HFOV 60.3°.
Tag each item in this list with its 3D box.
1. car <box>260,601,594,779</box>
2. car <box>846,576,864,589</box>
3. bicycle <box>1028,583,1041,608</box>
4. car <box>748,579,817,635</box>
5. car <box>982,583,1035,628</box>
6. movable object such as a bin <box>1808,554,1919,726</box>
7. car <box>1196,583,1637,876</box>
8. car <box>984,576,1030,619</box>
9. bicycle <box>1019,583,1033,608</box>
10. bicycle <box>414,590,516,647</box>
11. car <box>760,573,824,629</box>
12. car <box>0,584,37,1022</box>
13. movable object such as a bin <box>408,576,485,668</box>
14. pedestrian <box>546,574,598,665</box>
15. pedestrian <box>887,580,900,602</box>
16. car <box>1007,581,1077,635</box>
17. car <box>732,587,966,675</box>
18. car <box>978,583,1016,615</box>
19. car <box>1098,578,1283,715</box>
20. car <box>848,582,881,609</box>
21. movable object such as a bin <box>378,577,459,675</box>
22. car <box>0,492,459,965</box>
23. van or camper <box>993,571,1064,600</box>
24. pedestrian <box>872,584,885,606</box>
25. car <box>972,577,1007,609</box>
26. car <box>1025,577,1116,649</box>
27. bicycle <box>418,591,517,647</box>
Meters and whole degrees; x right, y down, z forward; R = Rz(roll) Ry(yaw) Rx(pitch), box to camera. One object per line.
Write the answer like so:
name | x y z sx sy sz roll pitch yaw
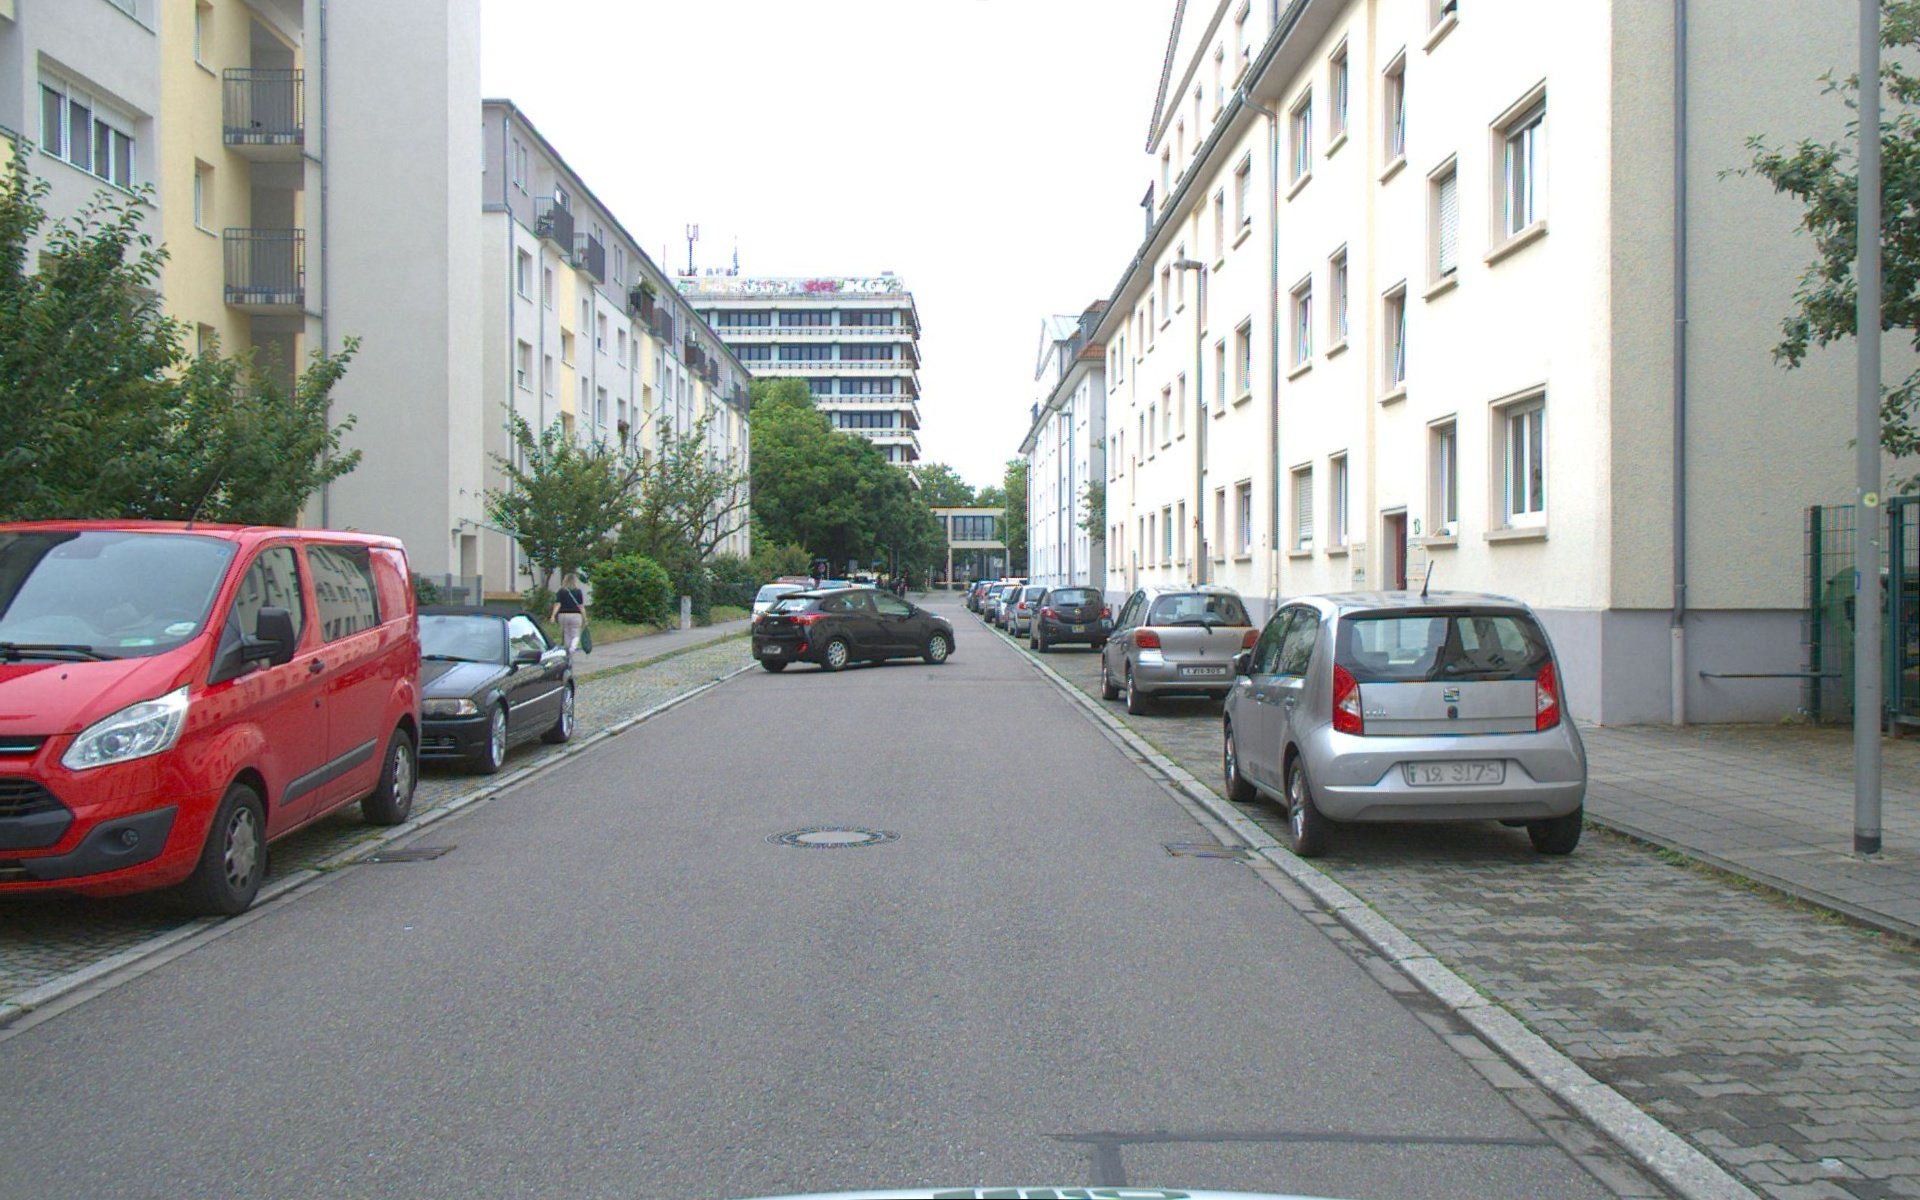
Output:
car | -4.759 0.729 15.468 1.832 1.346 4.360 1 1 -2
car | -10.788 -1.813 169.621 1.632 1.356 3.395 0 1 -1
bicycle | 3.700 -0.233 81.947 0.564 1.196 2.038 -1 1 5
car | -5.350 0.183 50.156 1.685 1.597 3.870 2 1 -1
car | 1.680 0.155 58.609 1.690 1.502 4.504 0 1 -1
movable object such as a bin | 8.406 0.332 14.708 1.138 1.469 1.149 0 1 -1
car | 2.727 0.668 10.852 1.690 1.518 4.060 -1 1 -1
car | 1.889 -0.125 67.513 1.783 1.671 4.091 0 1 0
bicycle | 3.275 -0.237 81.975 0.519 1.196 2.038 -1 1 5
bicycle | -10.430 0.382 34.891 1.986 1.161 0.621 0 0 -11
car | -5.652 0.013 56.027 1.917 1.801 4.359 1 1 -3
car | -4.302 0.740 4.171 1.685 1.597 4.053 2 1 -1
movable object such as a bin | -8.323 0.346 26.861 0.787 1.454 1.288 1 0 3
pedestrian | -7.091 0.346 30.260 0.784 1.638 0.946 -1 0 -5
pedestrian | -5.184 -0.699 128.682 0.952 1.683 0.980 -1 0 -2
car | 2.339 0.197 48.130 1.811 1.475 3.832 0 1 -1
car | -1.956 0.511 30.258 1.875 1.458 4.209 0 1 41
car | 1.829 -0.087 83.345 1.783 1.529 4.091 -1 1 0
car | 2.809 0.506 20.970 1.690 1.544 4.060 -1 1 -1
car | -5.718 -0.290 99.201 1.954 1.568 3.998 1 1 -3
movable object such as a bin | -8.345 0.386 25.539 0.787 1.454 1.288 1 0 2
car | -4.562 0.499 9.411 2.108 1.988 4.919 2 1 -3
van or camper | 5.061 -1.091 123.279 5.070 2.049 1.998 -1 1 -5
pedestrian | -6.365 -0.373 129.023 0.952 1.683 0.980 -1 0 -2
car | 1.566 -0.404 88.600 1.783 1.631 4.091 -1 1 0
car | 2.464 0.253 37.692 1.690 1.544 4.060 -1 1 -1
bicycle | -10.561 0.396 35.512 1.986 1.161 0.621 0 0 -11
